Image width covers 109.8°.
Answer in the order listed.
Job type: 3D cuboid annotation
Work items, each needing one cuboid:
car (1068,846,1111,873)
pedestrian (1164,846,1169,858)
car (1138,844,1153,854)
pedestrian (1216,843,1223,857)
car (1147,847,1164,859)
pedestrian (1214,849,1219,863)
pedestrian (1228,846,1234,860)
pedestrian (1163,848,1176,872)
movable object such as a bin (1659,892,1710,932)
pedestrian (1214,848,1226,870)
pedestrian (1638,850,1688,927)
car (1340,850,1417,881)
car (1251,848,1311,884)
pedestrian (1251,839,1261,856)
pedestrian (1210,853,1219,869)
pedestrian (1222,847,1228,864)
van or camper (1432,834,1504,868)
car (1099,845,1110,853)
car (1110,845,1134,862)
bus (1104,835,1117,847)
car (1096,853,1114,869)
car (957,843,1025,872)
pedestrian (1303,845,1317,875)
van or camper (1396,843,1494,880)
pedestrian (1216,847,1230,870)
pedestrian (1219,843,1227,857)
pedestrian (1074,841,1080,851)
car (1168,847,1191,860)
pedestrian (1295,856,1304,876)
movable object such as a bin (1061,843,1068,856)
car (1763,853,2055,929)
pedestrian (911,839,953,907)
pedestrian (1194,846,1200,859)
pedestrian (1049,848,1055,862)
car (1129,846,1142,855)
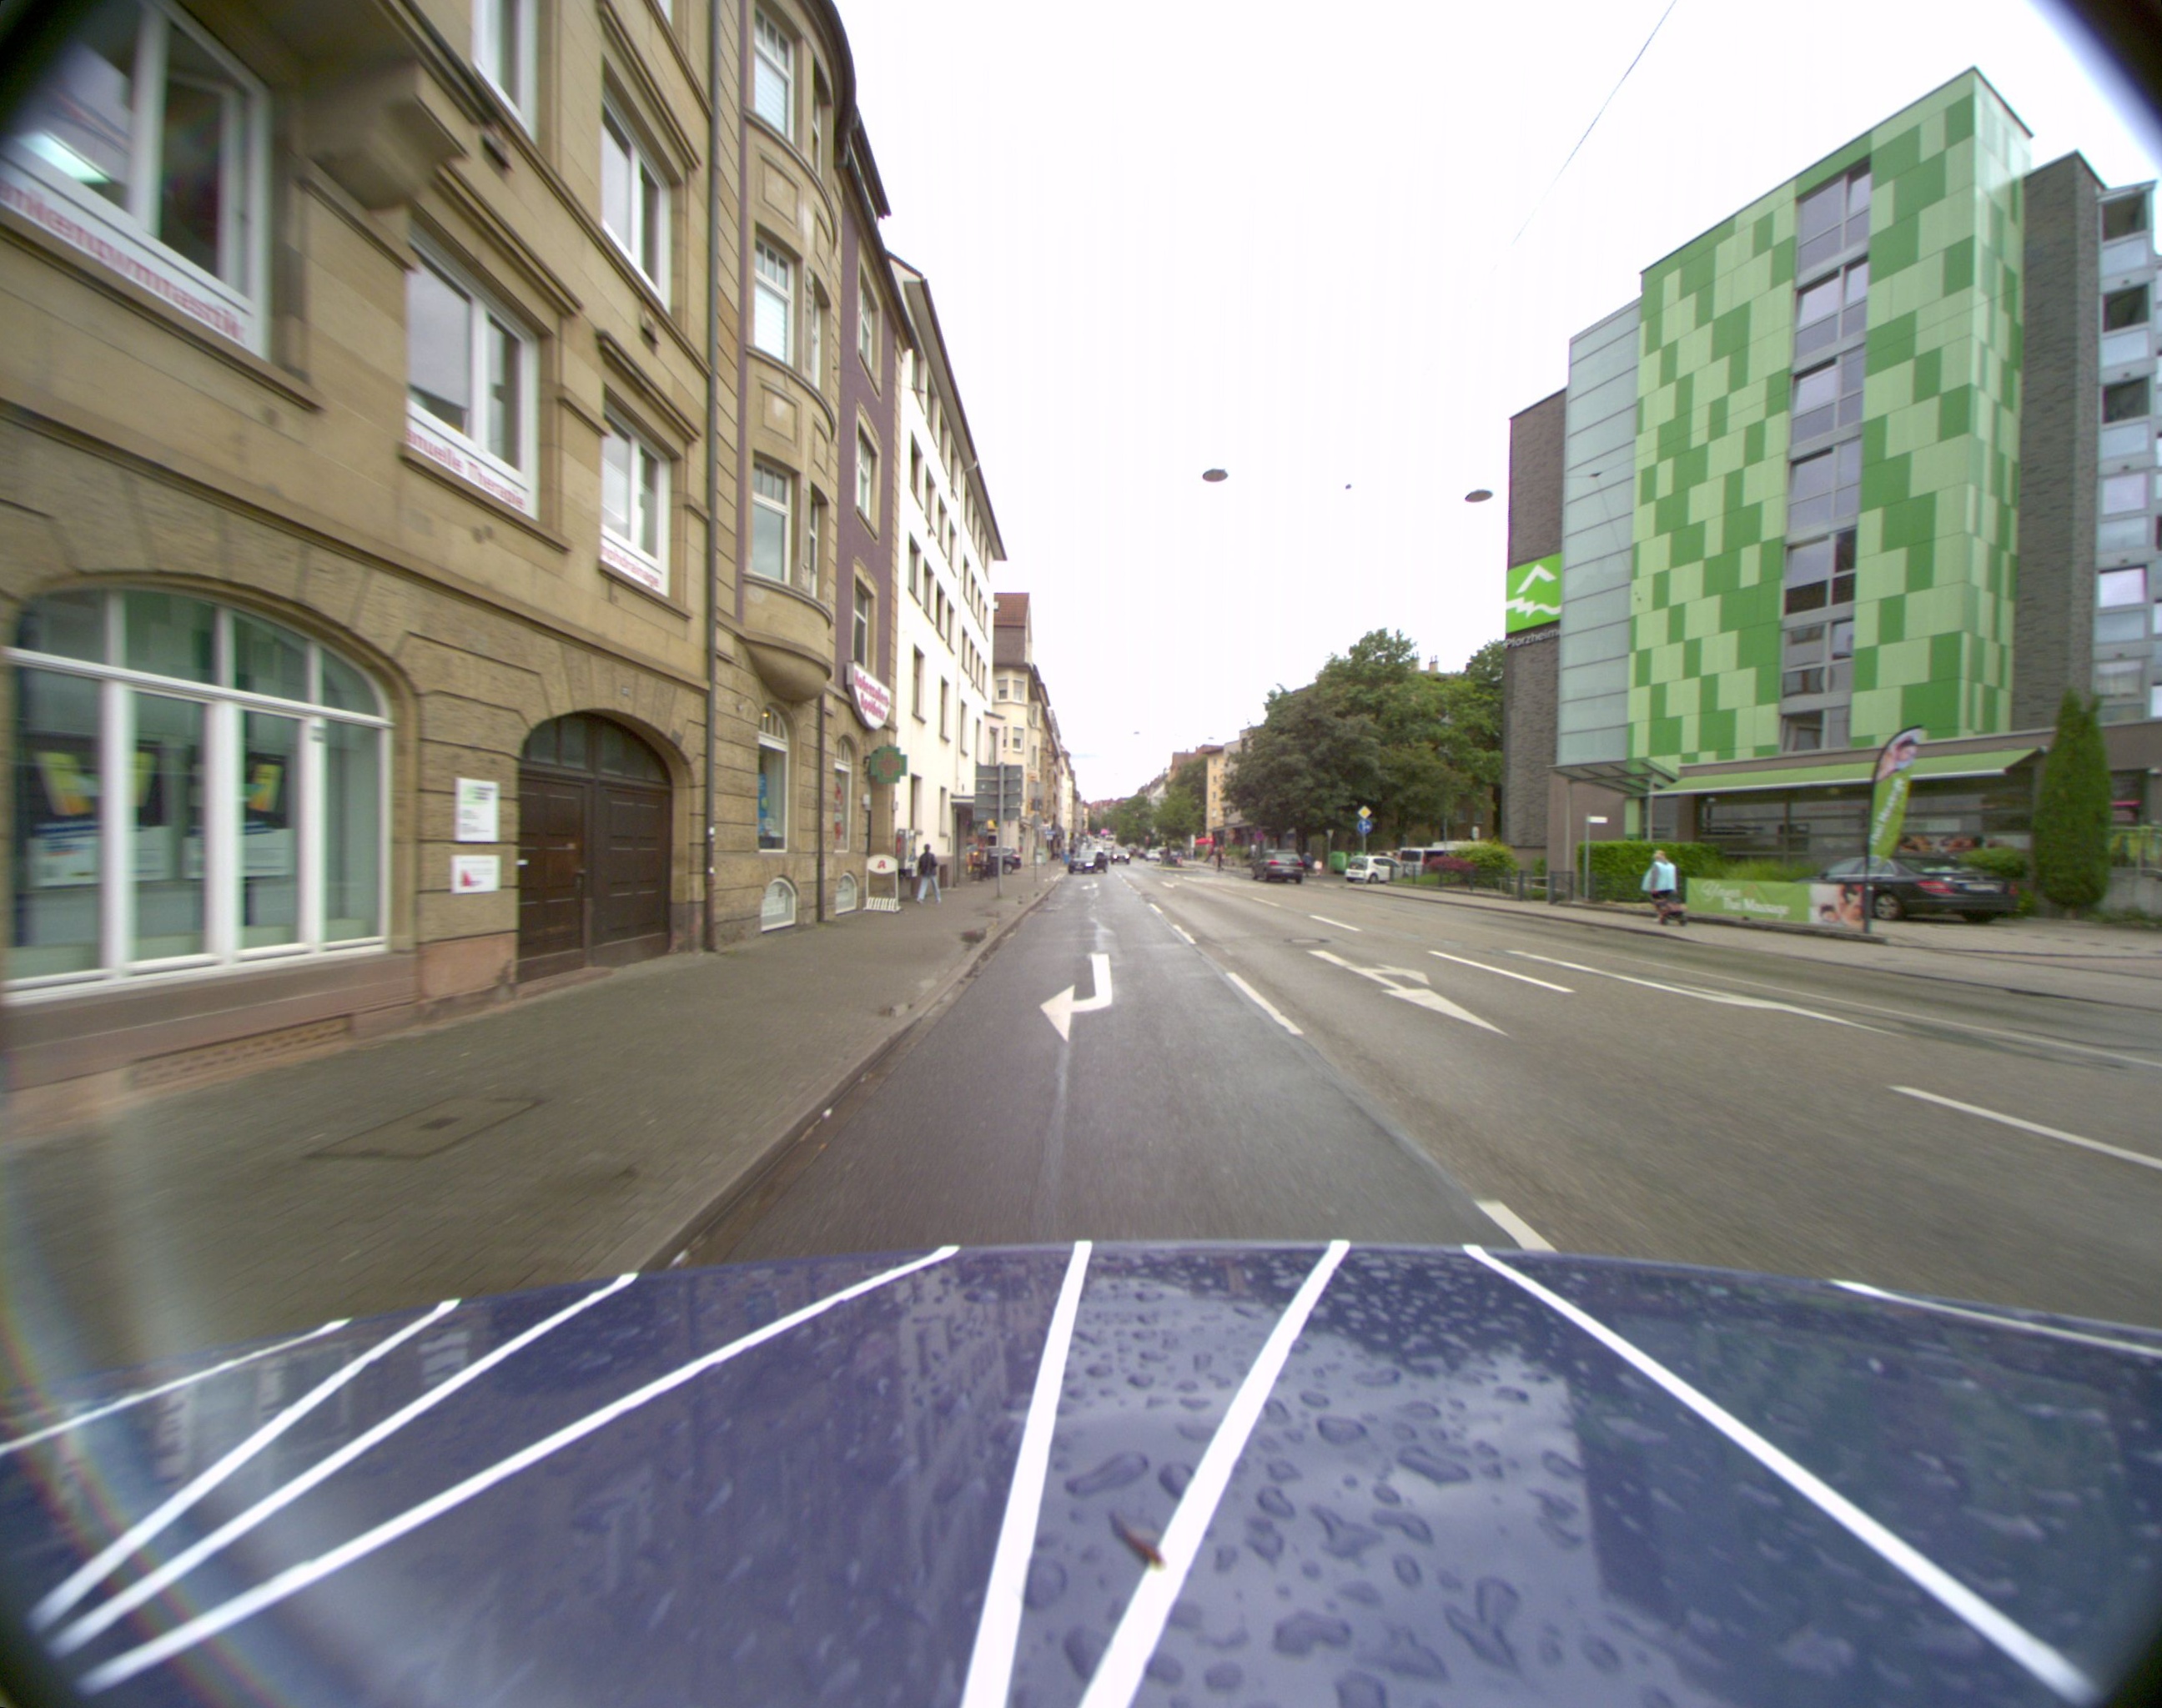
[{"bbox_3d":[0.589,0.320,48.327,1.732,1.539,3.985,3,2,15],"label":"car"},{"bbox_3d":[13.694,-0.336,121.709,0.703,2.002,0.782,0,2,-3],"label":"pedestrian"},{"bbox_3d":[10.409,-0.779,123.750,1.960,1.548,4.242,2,1,-1],"label":"car"},{"bbox_3d":[17.023,-0.528,93.521,0.715,1.669,0.713,0,1,0],"label":"pedestrian"},{"bbox_3d":[10.116,-0.169,103.322,1.824,1.560,4.088,2,1,-1],"label":"car"},{"bbox_3d":[14.098,0.219,78.999,0.434,1.402,0.481,0,1,-3],"label":"pedestrian"},{"bbox_3d":[15.477,-0.068,78.425,0.461,1.465,0.530,0,1,-3],"label":"pedestrian"},{"bbox_3d":[6.830,0.469,58.743,0.724,1.815,0.853,0,1,-22],"label":"pedestrian"},{"bbox_3d":[13.210,1.252,16.640,0.735,0.784,0.752,-1,2,-44],"label":"movable object such as a bin"},{"bbox_3d":[11.215,0.369,61.411,0.658,1.749,0.719,0,1,-21],"label":"pedestrian"},{"bbox_3d":[13.226,0.769,17.279,0.749,1.676,0.752,0,1,-44],"label":"pedestrian"},{"bbox_3d":[15.801,0.607,40.359,3.593,1.560,1.737,-1,1,-22],"label":"car"},{"bbox_3d":[10.055,0.556,38.484,1.953,1.649,4.056,1,1,0],"label":"car"},{"bbox_3d":[18.560,-0.670,80.736,0.724,1.815,0.720,0,1,-27],"label":"pedestrian"},{"bbox_3d":[15.321,0.776,87.308,0.724,1.815,0.721,0,1,-18],"label":"pedestrian"},{"bbox_3d":[14.960,0.156,78.780,0.499,1.664,0.552,0,1,-3],"label":"pedestrian"},{"bbox_3d":[27.010,-0.232,53.032,4.624,2.253,2.206,-2,1,-28],"label":"van or camper"},{"bbox_3d":[4.623,-0.972,150.661,1.960,1.548,4.242,2,1,-1],"label":"car"},{"bbox_3d":[4.105,-0.059,76.912,1.856,1.646,4.203,1,0,-4],"label":"car"},{"bbox_3d":[8.486,-3.709,218.681,2.812,3.228,11.957,5,2,-1],"label":"bus"},{"bbox_3d":[3.089,0.839,98.560,1.999,2.002,3.998,1,0,-4],"label":"car"},{"bbox_3d":[-5.665,0.191,47.576,4.152,1.761,1.871,0,1,-9],"label":"car"},{"bbox_3d":[13.901,0.358,46.129,0.575,1.752,0.581,1,1,-6],"label":"pedestrian"},{"bbox_3d":[20.476,0.451,42.776,4.972,2.001,1.997,0,-2,-20],"label":"van or camper"},{"bbox_3d":[11.299,0.356,60.591,0.863,1.834,0.693,1,1,-14],"label":"pedestrian"},{"bbox_3d":[17.292,-0.499,92.242,0.711,1.669,0.801,1,1,29],"label":"pedestrian"},{"bbox_3d":[-0.729,-1.430,135.564,0.853,1.739,1.064,3,1,1],"label":"pedestrian"},{"bbox_3d":[11.040,-0.050,85.267,2.019,1.417,4.499,1,1,1],"label":"car"},{"bbox_3d":[13.220,0.740,45.908,0.410,1.191,0.311,1,1,-6],"label":"pedestrian"},{"bbox_3d":[-2.365,-0.645,107.630,1.002,1.783,1.295,1,2,-1],"label":"movable object such as a bin"},{"bbox_3d":[18.429,0.722,17.349,1.997,1.430,4.655,1,1,8],"label":"car"},{"bbox_3d":[-3.837,0.472,19.586,0.673,1.710,0.902,1,1,18],"label":"pedestrian"},{"bbox_3d":[15.586,-0.194,102.148,0.591,1.809,0.870,0,1,-8],"label":"pedestrian"},{"bbox_3d":[-3.315,0.131,86.669,0.563,1.564,0.626,0,1,-15],"label":"pedestrian"},{"bbox_3d":[9.986,-0.643,139.253,1.958,1.504,4.913,-1,3,8],"label":"car"}]
